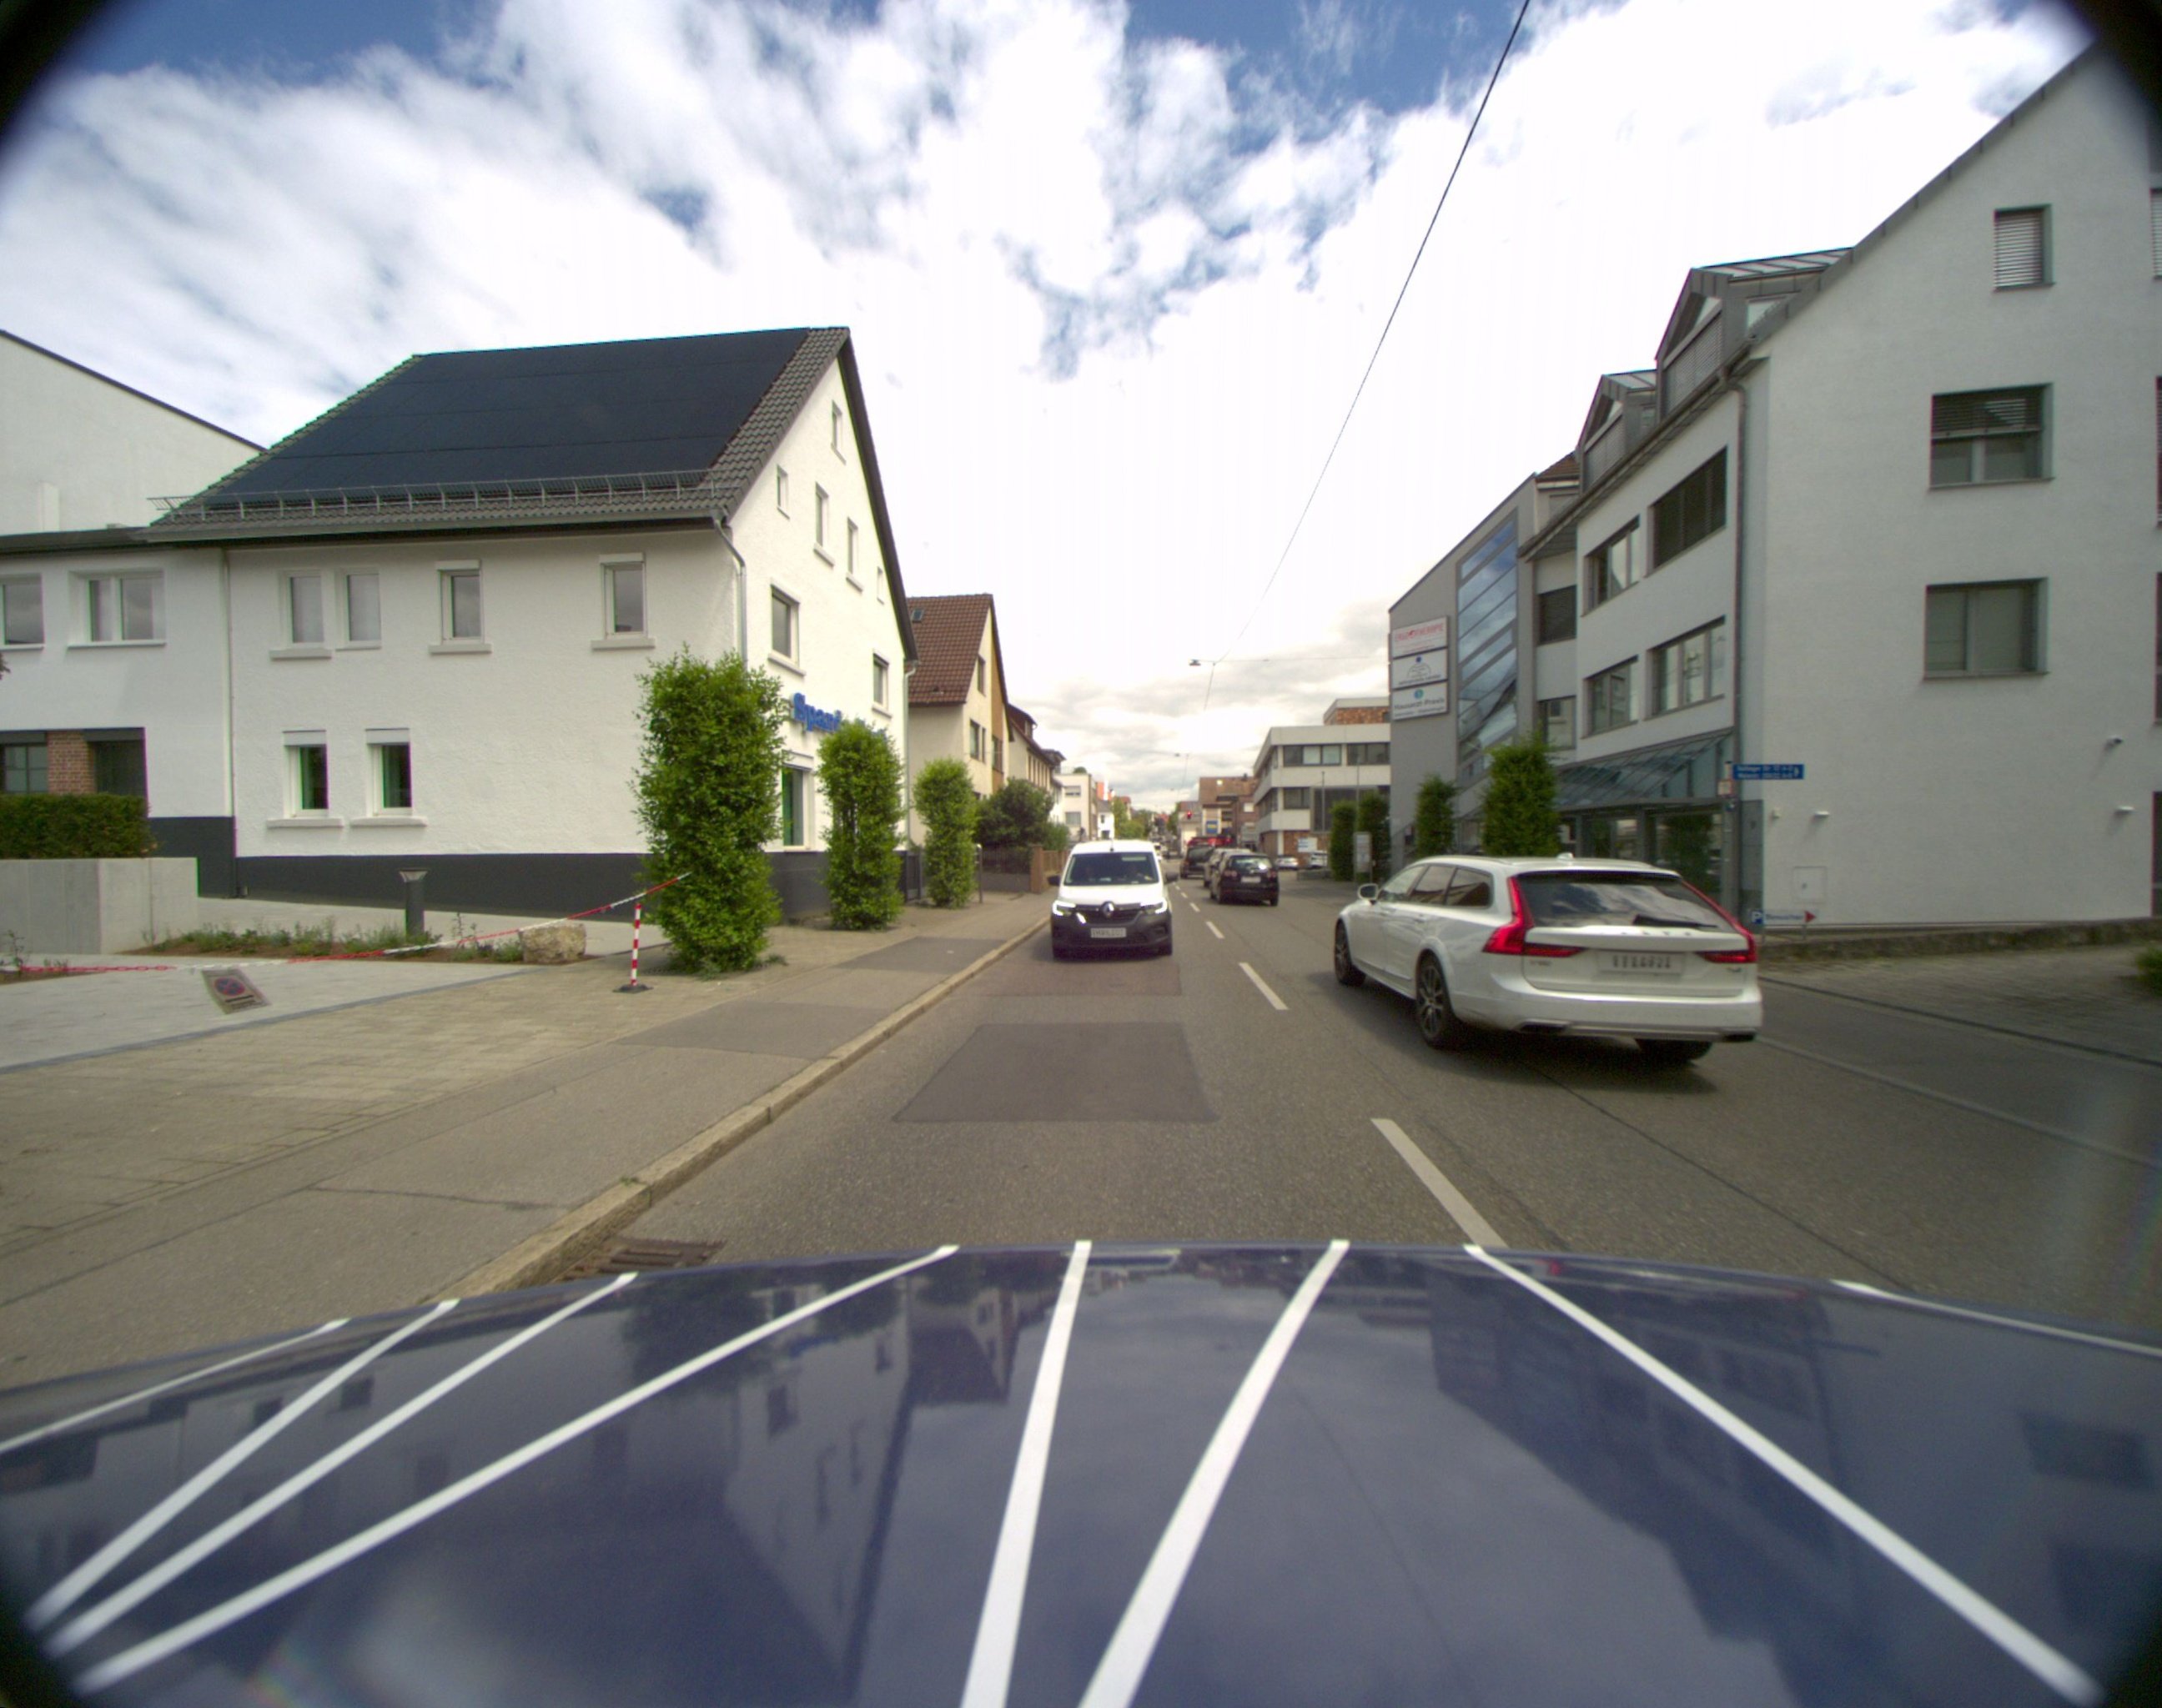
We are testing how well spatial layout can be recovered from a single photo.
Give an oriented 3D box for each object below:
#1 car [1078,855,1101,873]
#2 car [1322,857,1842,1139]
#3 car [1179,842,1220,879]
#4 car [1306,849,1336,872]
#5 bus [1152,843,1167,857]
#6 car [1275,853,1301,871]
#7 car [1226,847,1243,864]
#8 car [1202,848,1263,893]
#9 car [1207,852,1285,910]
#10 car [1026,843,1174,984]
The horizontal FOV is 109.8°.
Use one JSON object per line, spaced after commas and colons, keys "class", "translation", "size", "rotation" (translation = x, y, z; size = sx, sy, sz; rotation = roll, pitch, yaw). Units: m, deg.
{"class": "car", "translation": [0.711, 0.766, 60.312], "size": [1.655, 1.413, 4.001], "rotation": [0, 0, 4]}
{"class": "car", "translation": [3.717, 0.858, 6.928], "size": [1.901, 1.551, 4.802], "rotation": [2, 1, 6]}
{"class": "car", "translation": [7.164, 0.365, 46.327], "size": [2.115, 2.139, 4.884], "rotation": [0, 0, 4]}
{"class": "car", "translation": [19.134, 0.457, 60.631], "size": [1.896, 1.687, 3.804], "rotation": [2, 1, 13]}
{"class": "bus", "translation": [18.023, -0.974, 174.389], "size": [3.132, 3.239, 9.753], "rotation": [-1, 1, 5]}
{"class": "car", "translation": [16.681, 0.653, 61.406], "size": [1.823, 1.321, 4.239], "rotation": [-1, 1, 13]}
{"class": "car", "translation": [16.716, 0.174, 82.588], "size": [1.701, 1.766, 4.465], "rotation": [-1, 1, 13]}
{"class": "car", "translation": [6.418, 0.630, 32.761], "size": [1.990, 1.727, 4.797], "rotation": [2, 1, 5]}
{"class": "car", "translation": [4.992, 0.761, 23.441], "size": [1.836, 1.575, 4.039], "rotation": [1, 0, 5]}
{"class": "car", "translation": [0.537, 0.745, 12.286], "size": [1.870, 1.805, 5.009], "rotation": [-1, 1, 7]}
